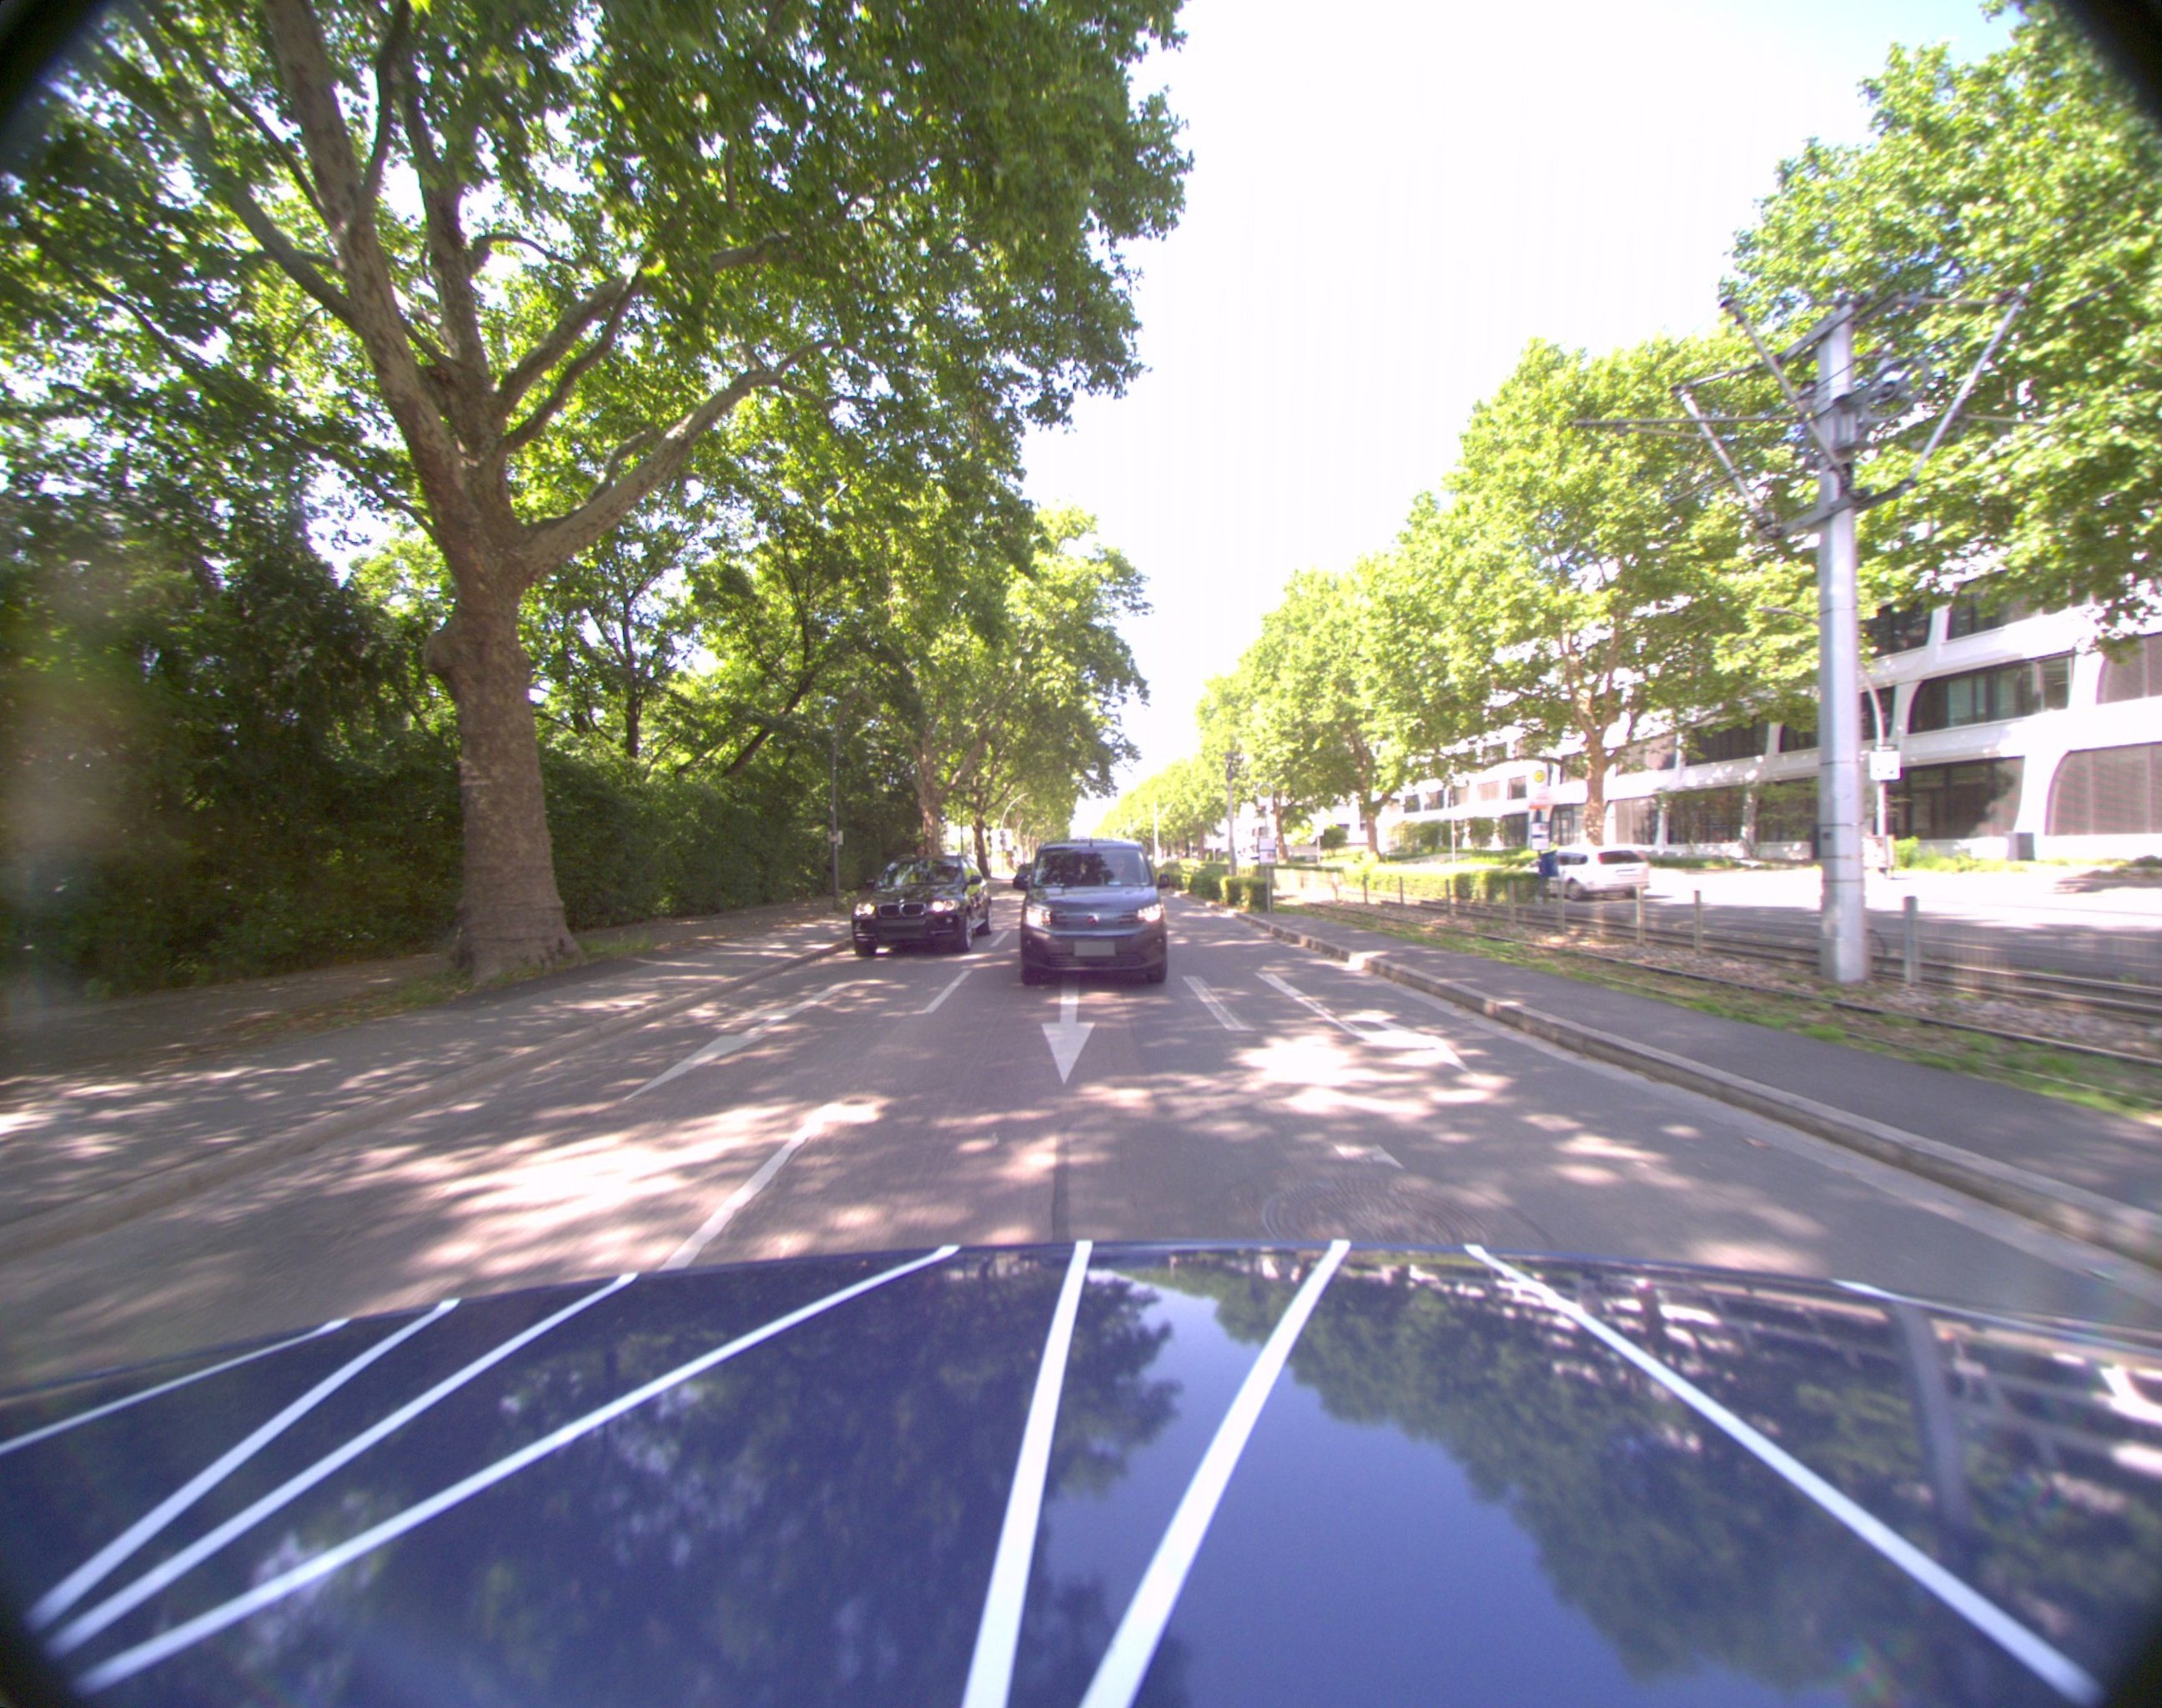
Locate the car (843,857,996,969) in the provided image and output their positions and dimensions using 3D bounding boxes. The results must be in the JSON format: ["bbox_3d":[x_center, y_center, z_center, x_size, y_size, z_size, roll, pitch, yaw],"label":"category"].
[{"bbox_3d":[-2.840,0.964,14.326,1.924,1.720,4.151,-2,0,0],"label":"car"}]

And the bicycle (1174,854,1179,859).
[{"bbox_3d":[20.142,0.559,160.041,0.666,1.117,2.031,-2,0,1],"label":"bicycle"}]

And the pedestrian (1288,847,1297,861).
[{"bbox_3d":[25.323,-0.015,90.872,0.722,1.579,1.015,-2,0,0],"label":"pedestrian"}]

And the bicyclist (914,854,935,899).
[{"bbox_3d":[-5.597,0.811,27.183,0.621,1.590,0.732,0,0,-2],"label":"bicyclist"}]

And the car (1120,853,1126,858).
[{"bbox_3d":[13.849,0.632,251.658,1.761,1.560,4.019,-2,0,0],"label":"car"}]

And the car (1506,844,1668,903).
[{"bbox_3d":[14.489,0.510,22.112,1.801,1.480,4.385,-2,0,1],"label":"car"}]

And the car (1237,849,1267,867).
[{"bbox_3d":[15.742,0.363,70.107,1.815,1.554,4.304,-2,0,0],"label":"car"}]

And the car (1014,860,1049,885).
[{"bbox_3d":[-3.088,1.111,48.089,1.854,1.418,4.152,-2,0,1],"label":"car"}]

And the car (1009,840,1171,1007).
[{"bbox_3d":[0.132,0.777,10.473,1.789,1.839,4.000,-1,0,1],"label":"car"}]

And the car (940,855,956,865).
[{"bbox_3d":[-39.632,1.780,226.590,4.376,2.722,1.808,-2,0,-3],"label":"car"}]
